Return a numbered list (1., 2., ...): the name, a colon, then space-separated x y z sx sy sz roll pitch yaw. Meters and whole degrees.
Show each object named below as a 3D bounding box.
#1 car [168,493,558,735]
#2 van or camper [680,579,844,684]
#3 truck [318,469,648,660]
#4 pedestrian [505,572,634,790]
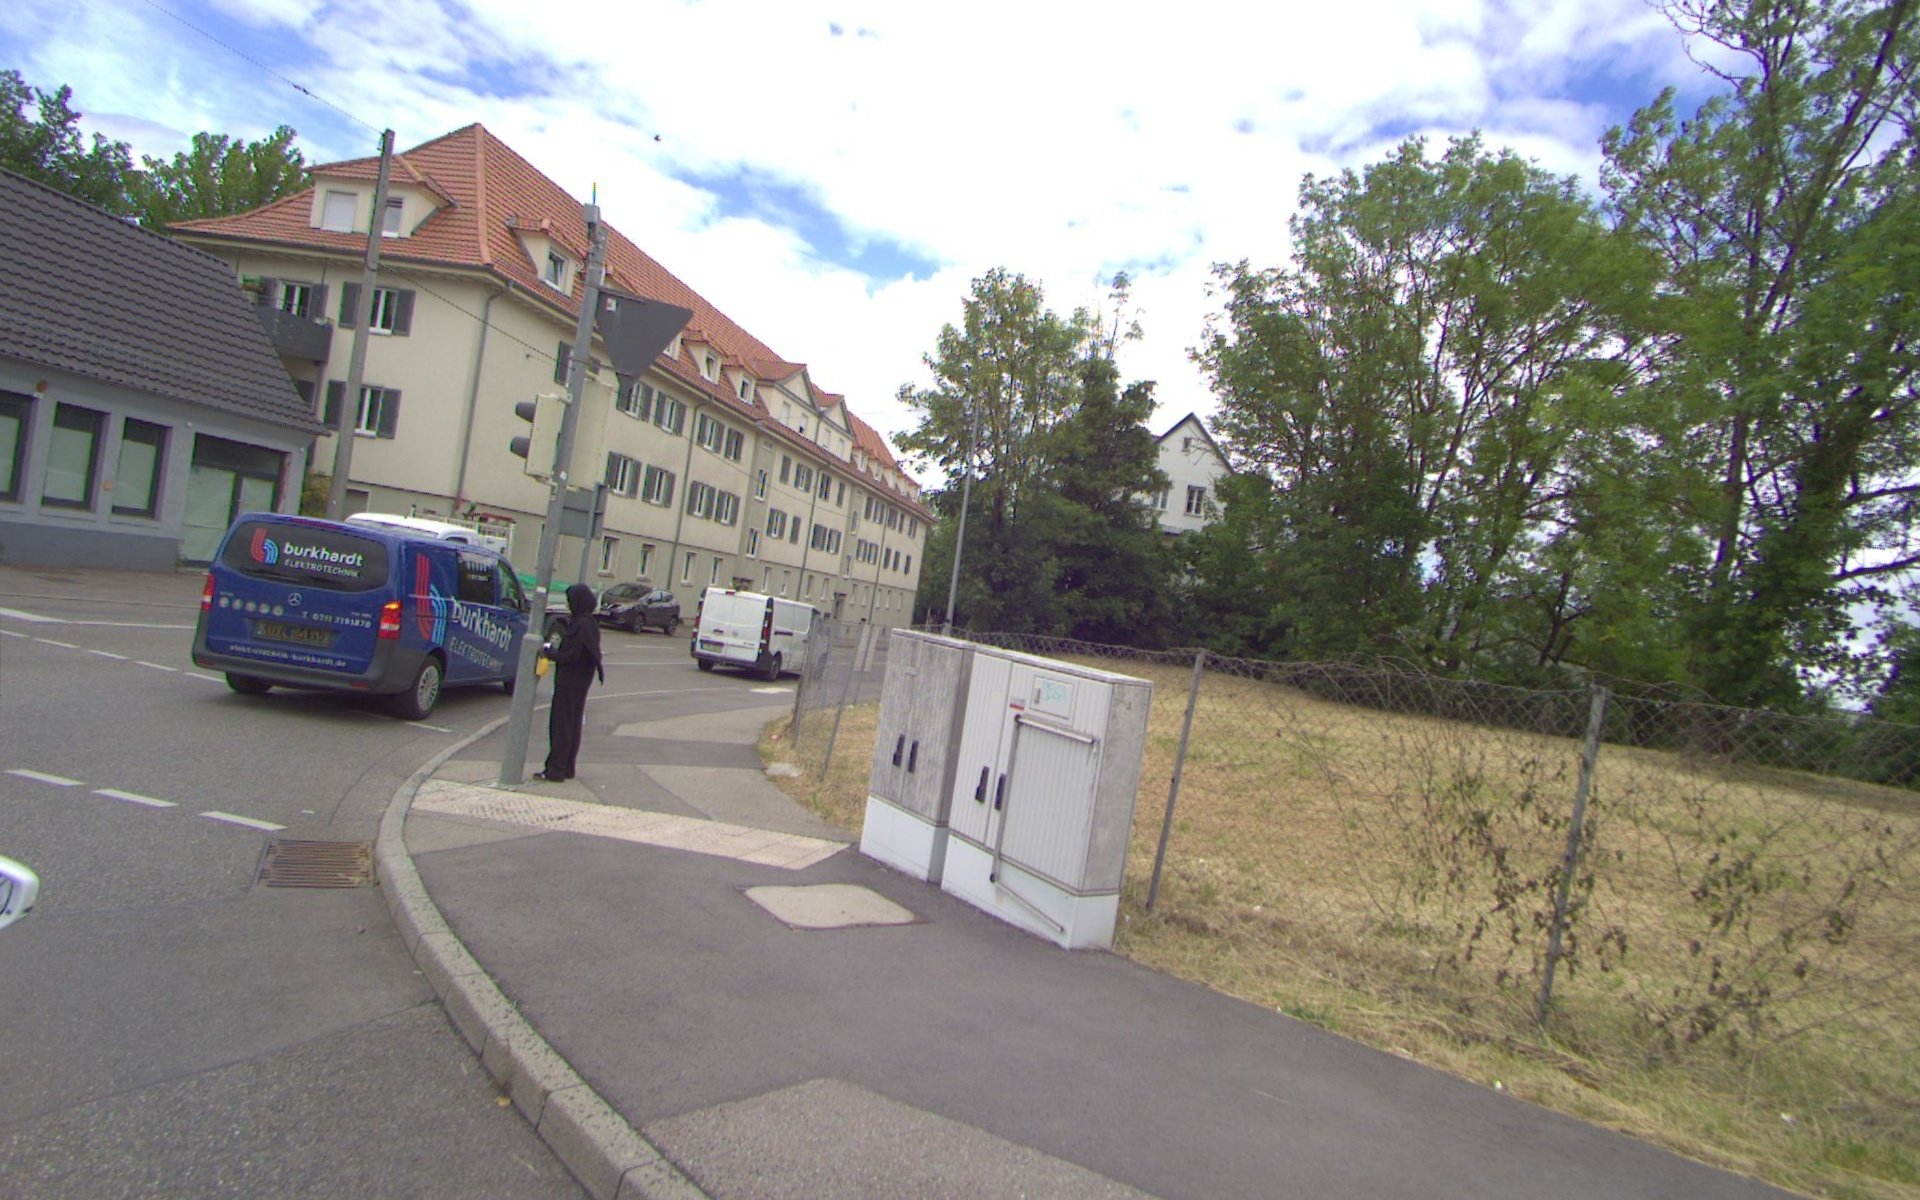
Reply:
1. car: -6.415 0.171 11.578 1.920 1.988 4.538 8 -1 -6
2. van or camper: -4.707 0.877 24.875 1.962 2.035 5.104 10 -2 11
3. truck: -8.581 -0.396 19.131 1.962 2.730 6.418 7 -3 11
4. pedestrian: -3.100 0.632 8.031 0.597 1.616 0.607 5 -1 10
